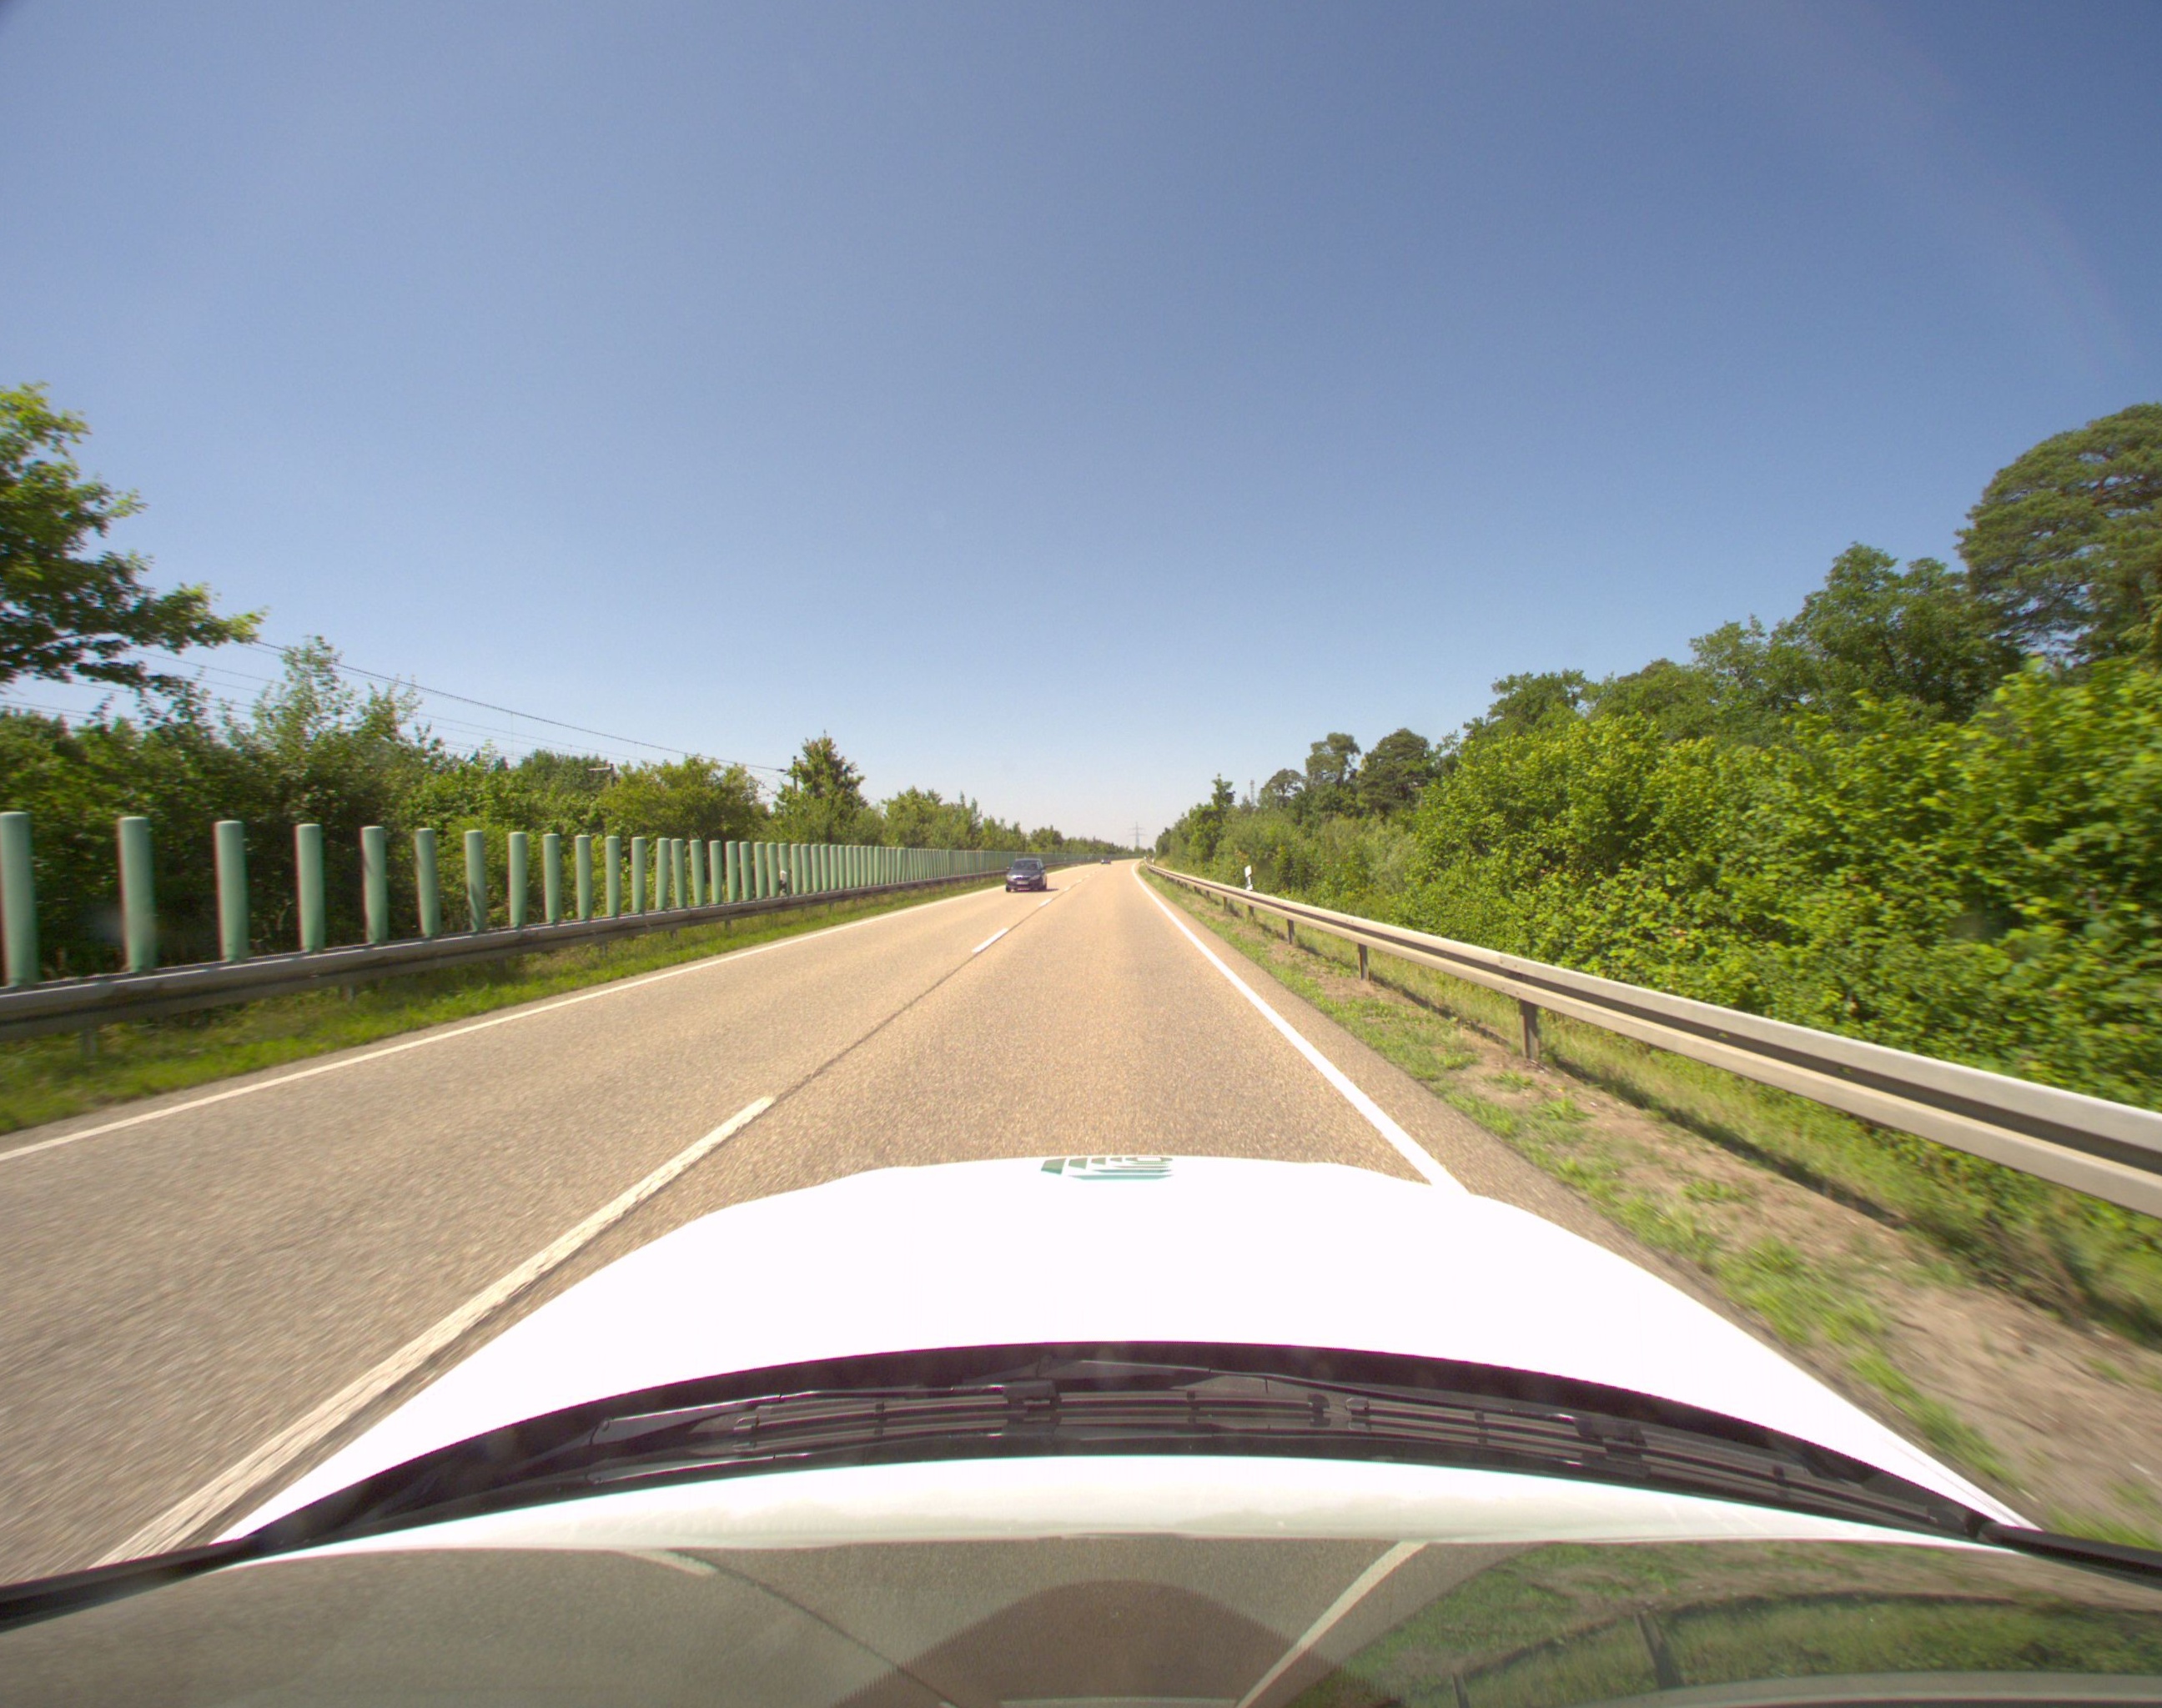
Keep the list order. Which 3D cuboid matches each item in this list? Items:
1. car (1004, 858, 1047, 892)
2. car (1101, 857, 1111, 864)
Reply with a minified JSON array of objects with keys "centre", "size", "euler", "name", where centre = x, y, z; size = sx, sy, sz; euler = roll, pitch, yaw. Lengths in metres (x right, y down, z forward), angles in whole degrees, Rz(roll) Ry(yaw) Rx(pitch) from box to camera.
[{"centre":[-2.500,0.928,37.486],"size":[1.642,1.479,3.677],"euler":[-1,0,1],"name":"car"},{"centre":[4.680,1.217,152.621],"size":[1.779,1.371,3.900],"euler":[-1,0,3],"name":"car"}]
